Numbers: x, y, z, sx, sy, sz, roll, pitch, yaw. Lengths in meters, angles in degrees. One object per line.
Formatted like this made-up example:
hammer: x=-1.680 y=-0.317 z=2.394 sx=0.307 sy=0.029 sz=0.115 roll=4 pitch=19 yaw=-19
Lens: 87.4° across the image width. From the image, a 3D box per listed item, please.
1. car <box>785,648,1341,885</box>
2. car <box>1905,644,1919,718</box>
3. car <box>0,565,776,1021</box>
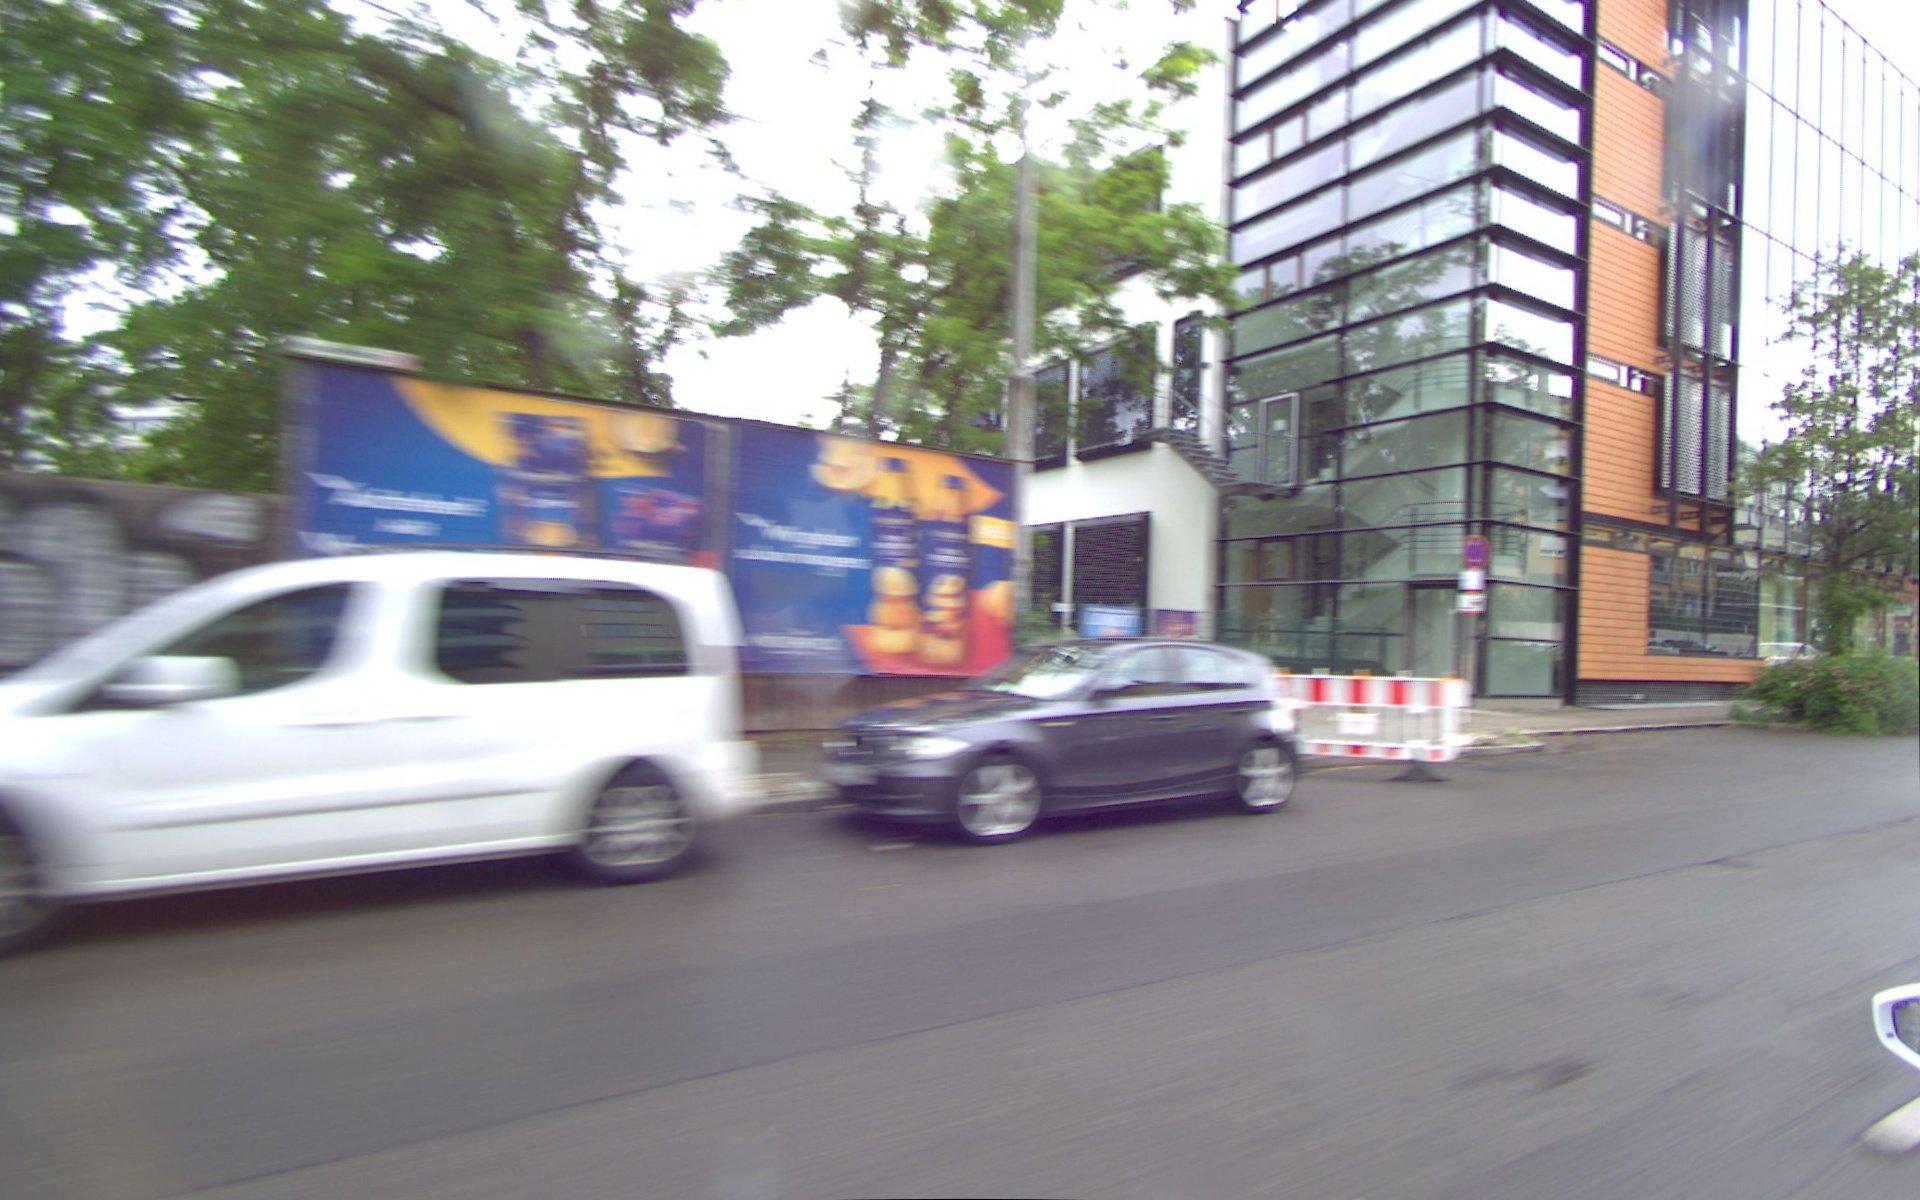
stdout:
car: x=0.953 y=1.106 z=7.988 sx=4.298 sy=1.394 sz=1.713 roll=2 pitch=-2 yaw=-33
car: x=21.351 y=1.677 z=20.650 sx=4.608 sy=1.469 sz=1.793 roll=2 pitch=-2 yaw=-33
car: x=-3.331 y=0.824 z=5.357 sx=4.295 sy=1.824 sz=1.715 roll=2 pitch=-2 yaw=-32
